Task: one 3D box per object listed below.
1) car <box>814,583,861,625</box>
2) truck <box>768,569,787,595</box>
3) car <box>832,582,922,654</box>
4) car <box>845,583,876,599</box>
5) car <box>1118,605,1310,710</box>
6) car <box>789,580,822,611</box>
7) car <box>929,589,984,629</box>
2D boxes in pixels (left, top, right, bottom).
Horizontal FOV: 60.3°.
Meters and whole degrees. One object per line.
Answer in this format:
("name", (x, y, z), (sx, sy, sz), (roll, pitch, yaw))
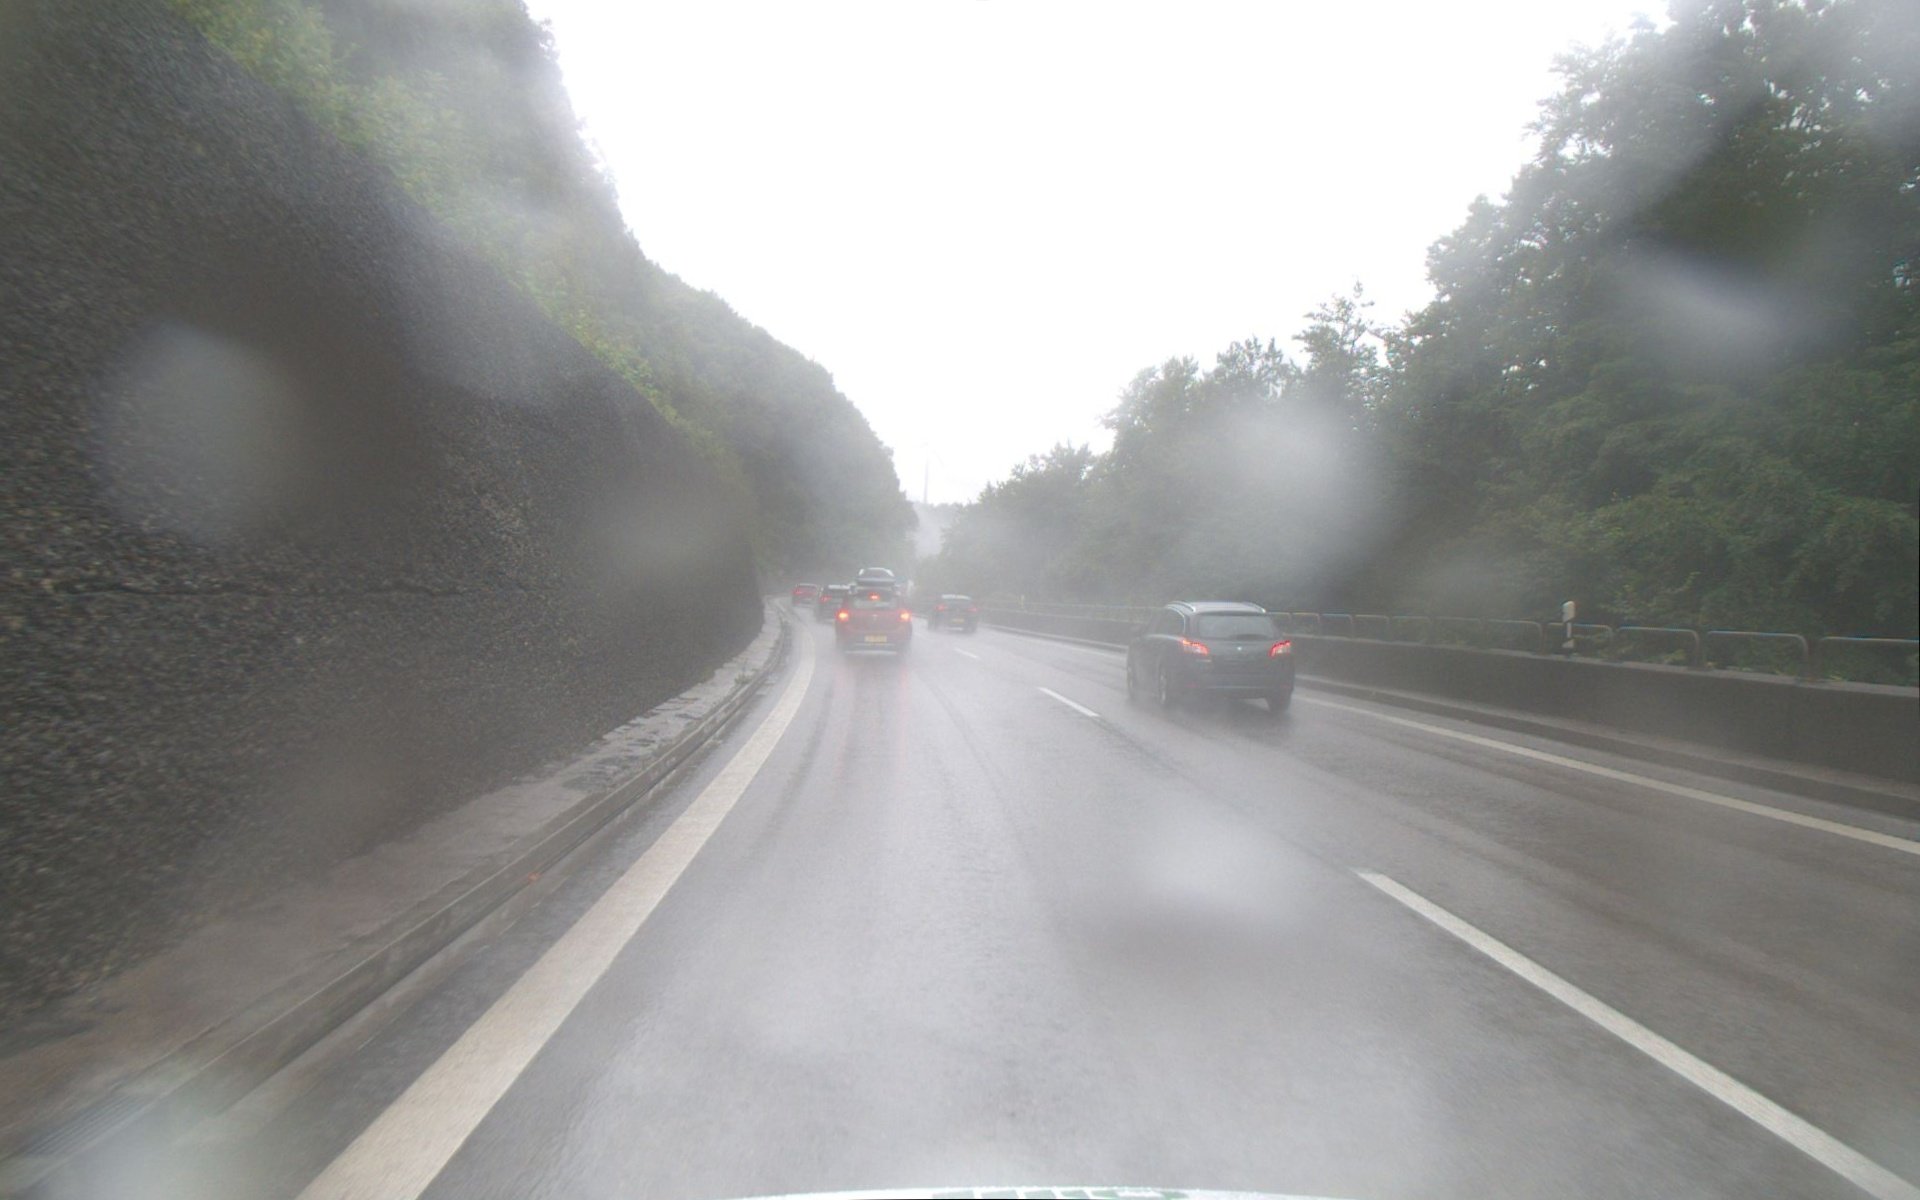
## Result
("car", (-5.291, 0.184, 71.199), (1.955, 1.713, 3.996), (1, -1, -5))
("truck", (-20.886, -2.028, 189.102), (1.956, 2.799, 5.577), (2, 0, -7))
("car", (-1.995, 0.421, 38.633), (1.954, 1.579, 3.996), (1, -1, -5))
("car", (-13.421, -1.203, 222.954), (2.423, 2.049, 4.689), (0, 0, -30))
("car", (3.492, 0.752, 23.450), (1.765, 1.330, 3.995), (0, 0, -6))
("car", (-10.713, -0.319, 114.820), (1.957, 2.049, 3.991), (2, -1, -10))
("car", (-0.189, 0.338, 67.946), (1.954, 1.579, 3.997), (1, 0, -4))
